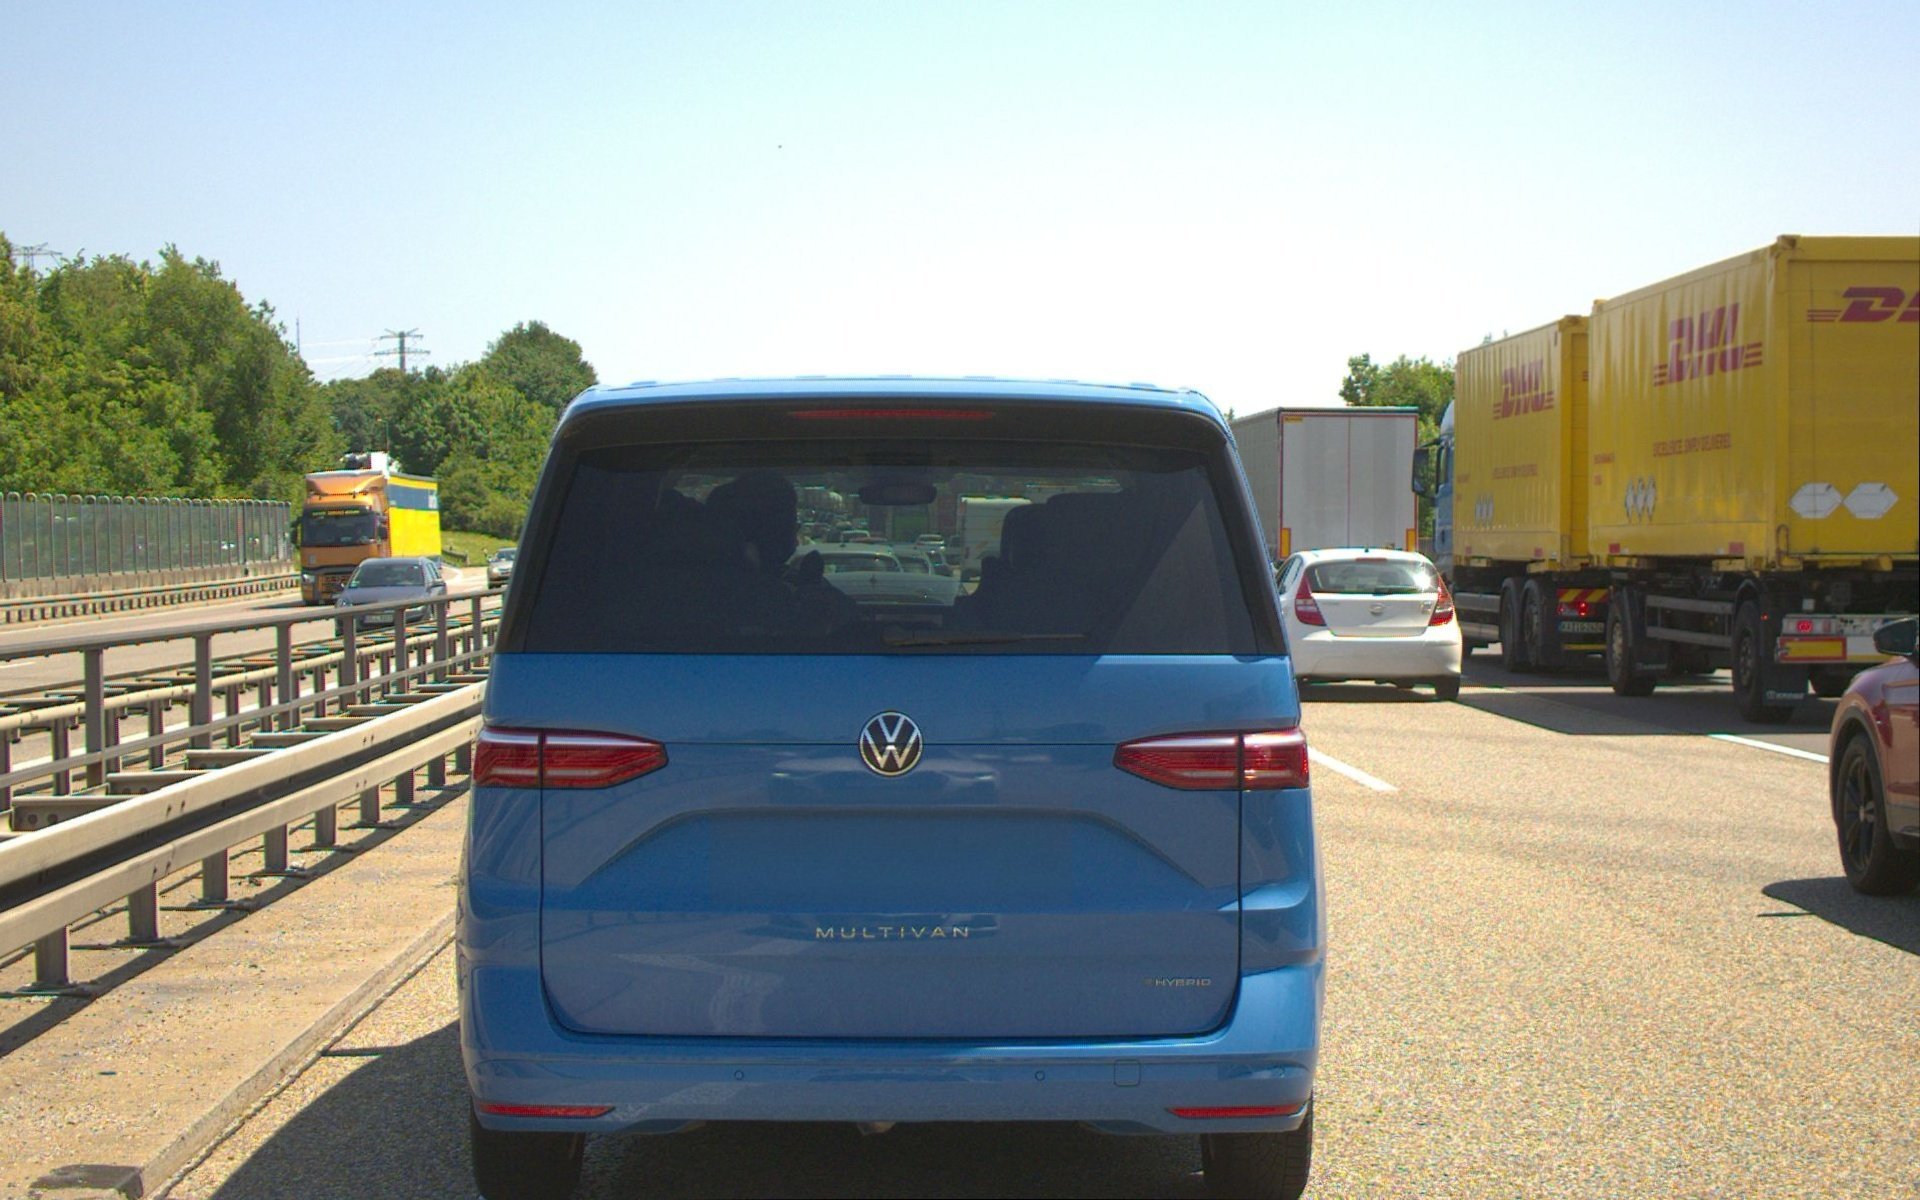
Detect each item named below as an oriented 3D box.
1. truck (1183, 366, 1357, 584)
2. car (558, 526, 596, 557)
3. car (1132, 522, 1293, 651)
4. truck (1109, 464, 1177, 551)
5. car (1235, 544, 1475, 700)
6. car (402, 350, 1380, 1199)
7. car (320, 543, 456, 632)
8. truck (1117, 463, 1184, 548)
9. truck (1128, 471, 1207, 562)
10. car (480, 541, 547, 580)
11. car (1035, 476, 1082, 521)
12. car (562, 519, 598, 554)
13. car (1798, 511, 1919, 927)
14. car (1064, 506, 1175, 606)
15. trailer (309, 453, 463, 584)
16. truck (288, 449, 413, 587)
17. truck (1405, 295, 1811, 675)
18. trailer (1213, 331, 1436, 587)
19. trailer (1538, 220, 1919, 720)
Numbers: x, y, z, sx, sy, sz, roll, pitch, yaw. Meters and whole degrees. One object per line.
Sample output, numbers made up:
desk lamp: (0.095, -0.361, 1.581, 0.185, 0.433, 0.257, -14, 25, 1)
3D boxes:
truck: (6.855, -2.699, 77.059, 3.026, 4.595, 7.921, 1, 0, -1)
car: (-22.608, -3.437, 202.916, 1.842, 1.745, 3.943, 1, 1, -1)
car: (3.409, -0.199, 46.964, 1.815, 1.673, 3.932, 1, 1, -1)
truck: (5.478, -2.750, 103.401, 1.742, 2.540, 4.210, 1, 0, -1)
car: (3.931, 0.193, 34.802, 1.815, 1.465, 3.932, 1, 1, -2)
car: (-0.178, 0.428, 8.856, 1.930, 1.867, 4.000, 1, 1, -1)
car: (-10.378, -0.261, 62.628, 1.762, 1.503, 4.223, -2, 1, 0)
truck: (6.001, -2.960, 108.682, 1.797, 2.587, 4.306, 1, 0, -1)
truck: (5.686, -2.267, 94.550, 1.798, 2.441, 4.504, 1, 0, -1)
car: (-16.109, -1.406, 124.222, 1.689, 1.299, 4.012, -3, 0, 2)
car: (4.564, -4.684, 159.330, 1.993, 2.007, 4.000, 1, 1, -1)
car: (-23.036, -3.829, 208.511, 1.842, 2.035, 3.943, 1, 1, -1)
car: (4.725, 0.484, 13.460, 1.708, 1.673, 4.285, 0, 0, -2)
car: (3.186, -0.881, 69.367, 1.962, 1.929, 3.932, 1, 1, -1)
trailer: (-19.067, -2.638, 115.209, 2.628, 4.100, 14.016, -1, 1, 1)
truck: (-19.146, -2.535, 108.392, 2.672, 4.170, 6.287, -1, 0, 1)
truck: (7.634, -1.287, 42.059, 2.699, 4.074, 9.941, 1, 1, -2)
trailer: (6.991, -2.604, 67.623, 3.026, 4.595, 10.925, 1, 1, -1)
trailer: (7.793, -1.094, 32.631, 2.682, 4.074, 8.982, 1, 1, -2)
